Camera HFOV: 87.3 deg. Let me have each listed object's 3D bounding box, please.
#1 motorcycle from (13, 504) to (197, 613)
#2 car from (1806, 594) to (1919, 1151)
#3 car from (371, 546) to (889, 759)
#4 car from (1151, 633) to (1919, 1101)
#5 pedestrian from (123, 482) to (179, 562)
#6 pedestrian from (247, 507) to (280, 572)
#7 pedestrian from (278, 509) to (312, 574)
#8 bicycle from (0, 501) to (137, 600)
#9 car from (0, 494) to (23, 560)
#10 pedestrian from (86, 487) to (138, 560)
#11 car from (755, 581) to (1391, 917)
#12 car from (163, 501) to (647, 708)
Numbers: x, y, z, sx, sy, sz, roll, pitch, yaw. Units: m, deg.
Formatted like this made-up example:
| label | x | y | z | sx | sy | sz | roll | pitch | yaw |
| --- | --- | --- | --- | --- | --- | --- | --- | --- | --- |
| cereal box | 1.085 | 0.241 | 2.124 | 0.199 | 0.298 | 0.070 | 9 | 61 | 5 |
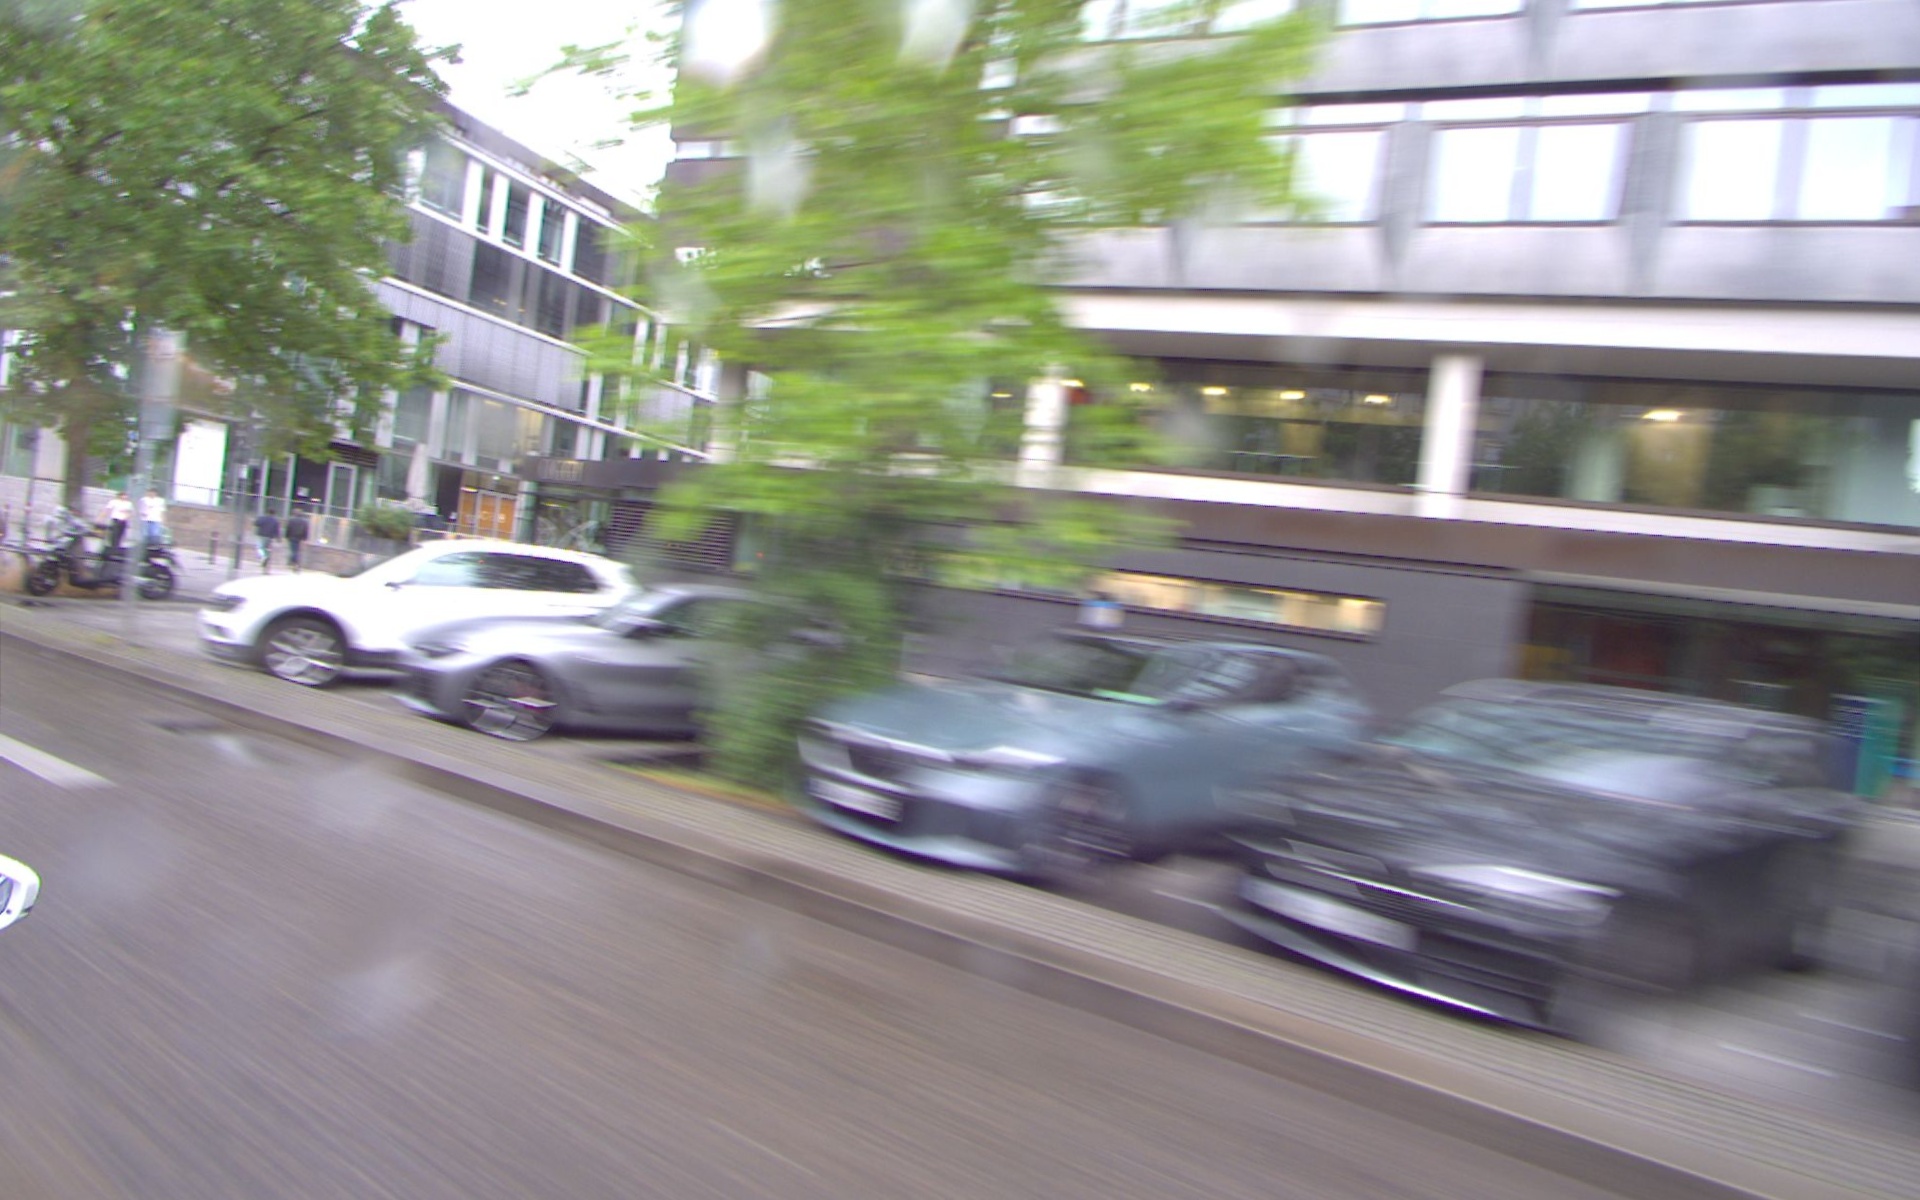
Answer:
| label | x | y | z | sx | sy | sz | roll | pitch | yaw |
| --- | --- | --- | --- | --- | --- | --- | --- | --- | --- |
| motorcycle | -13.590 | -0.631 | 16.047 | 0.715 | 1.431 | 2.027 | 6 | -2 | 40 |
| car | 5.951 | 1.284 | 4.388 | 4.902 | 2.003 | 1.913 | 7 | 0 | -32 |
| car | -3.049 | 0.525 | 9.607 | 4.258 | 1.507 | 1.829 | 7 | 0 | -29 |
| car | 3.431 | 1.217 | 5.642 | 4.524 | 1.525 | 1.852 | 7 | 0 | -34 |
| pedestrian | -23.609 | -2.270 | 29.358 | 1.061 | 2.140 | 0.934 | 6 | -2 | 44 |
| pedestrian | -20.139 | -1.758 | 29.066 | 0.637 | 1.807 | 0.761 | 2 | 3 | -42 |
| pedestrian | -19.462 | -1.711 | 29.428 | 0.662 | 1.808 | 0.908 | 2 | 3 | -42 |
| bicycle | -15.479 | -0.845 | 17.195 | 0.715 | 1.431 | 1.981 | 6 | -2 | 40 |
| car | -25.493 | -2.066 | 24.226 | 3.806 | 1.586 | 1.663 | 8 | -2 | -16 |
| pedestrian | -24.159 | -2.164 | 28.656 | 0.874 | 1.926 | 0.865 | 6 | -2 | 44 |
| car | 1.120 | 0.940 | 7.301 | 4.759 | 1.553 | 1.846 | 7 | 0 | -44 |
| car | -5.842 | 0.104 | 11.017 | 4.185 | 1.690 | 1.824 | 7 | 0 | -31 |
